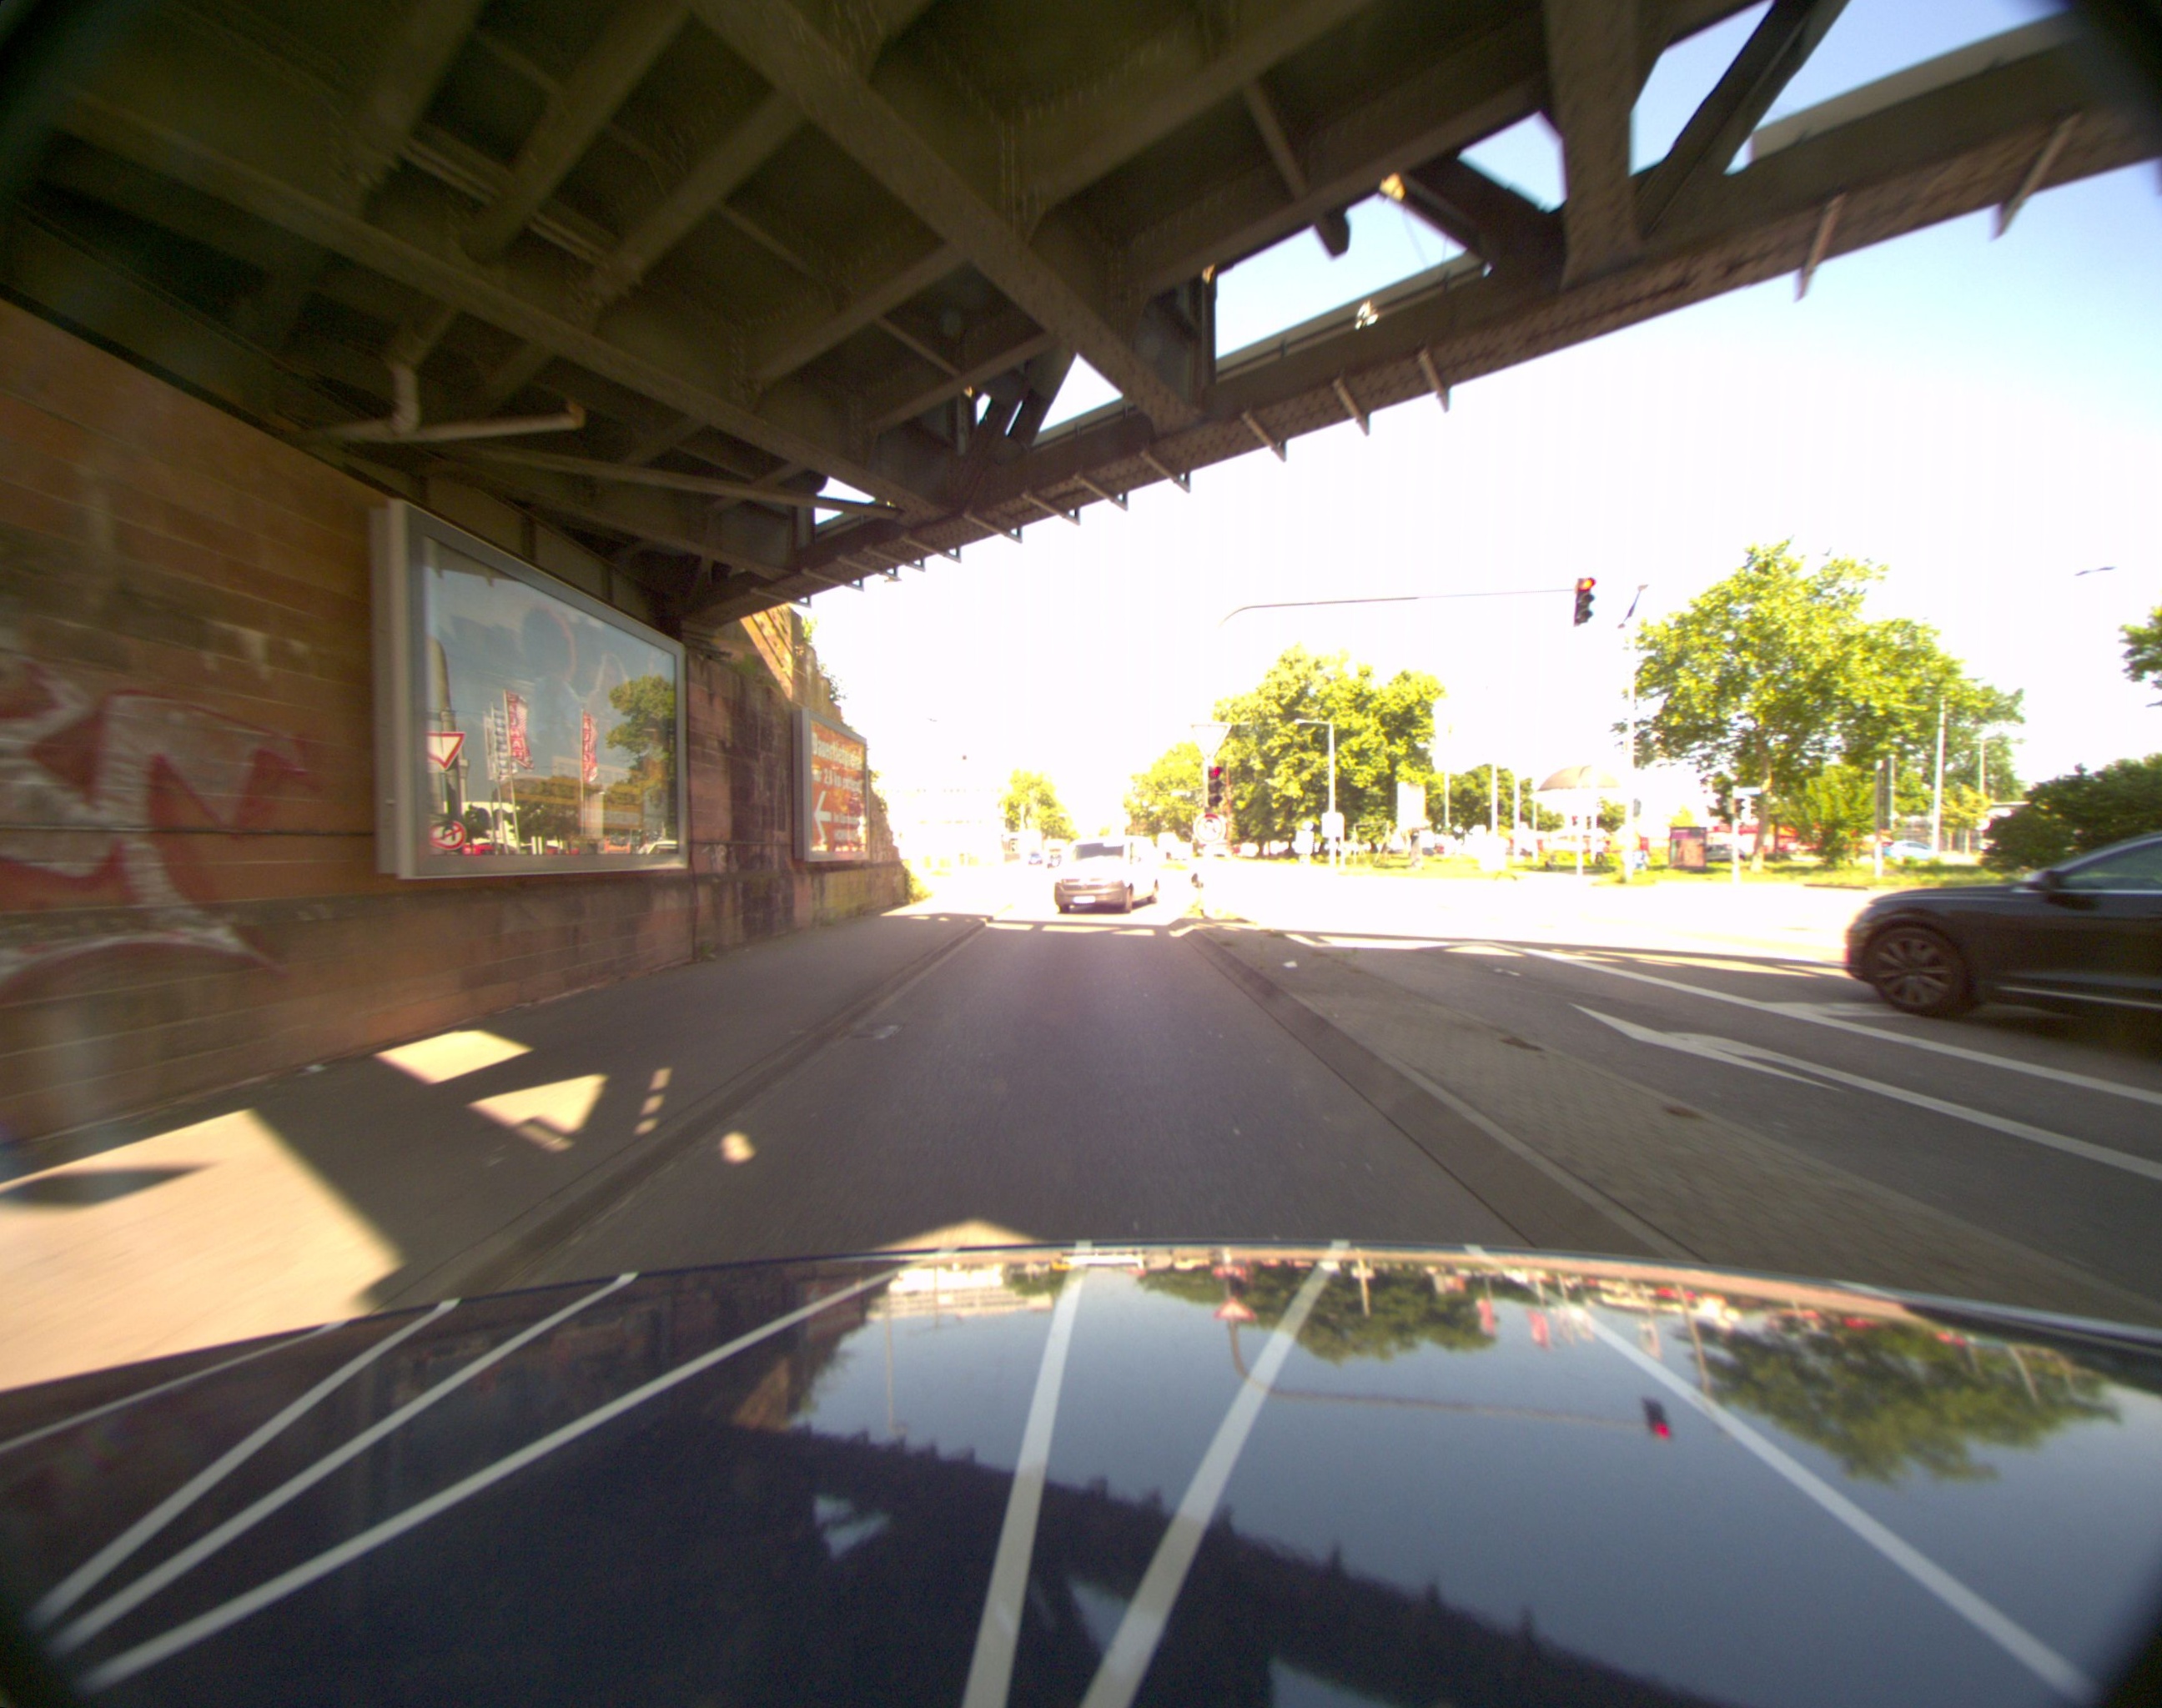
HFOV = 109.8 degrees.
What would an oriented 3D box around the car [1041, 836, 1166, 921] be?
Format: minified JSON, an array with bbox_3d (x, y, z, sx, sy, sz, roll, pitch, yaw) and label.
[{"bbox_3d":[0.768,0.542,20.249,1.884,1.983,4.981,0,1,19],"label":"car"}]

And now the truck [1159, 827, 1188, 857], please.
[{"bbox_3d":[13.101,-1.675,108.185,2.939,3.966,8.154,-3,0,1],"label":"truck"}]

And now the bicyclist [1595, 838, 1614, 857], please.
[{"bbox_3d":[30.559,-0.361,44.365,0.889,1.078,0.953,0,1,35],"label":"bicyclist"}]

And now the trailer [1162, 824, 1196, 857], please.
[{"bbox_3d":[13.056,-1.727,102.467,2.939,3.938,12.140,-3,0,1],"label":"trailer"}]

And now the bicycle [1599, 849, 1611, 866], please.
[{"bbox_3d":[30.628,0.206,44.430,0.545,0.917,1.880,0,1,35],"label":"bicycle"}]

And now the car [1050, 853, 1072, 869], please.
[{"bbox_3d":[-1.874,0.635,70.069,1.823,1.346,3.998,-1,1,-3],"label":"car"}]

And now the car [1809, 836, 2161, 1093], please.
[{"bbox_3d":[8.051,0.713,4.936,1.998,1.672,4.950,-1,1,2],"label":"car"}]

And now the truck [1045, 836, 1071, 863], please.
[{"bbox_3d":[-2.654,-0.425,85.422,2.410,2.846,5.802,-3,0,-5],"label":"truck"}]
